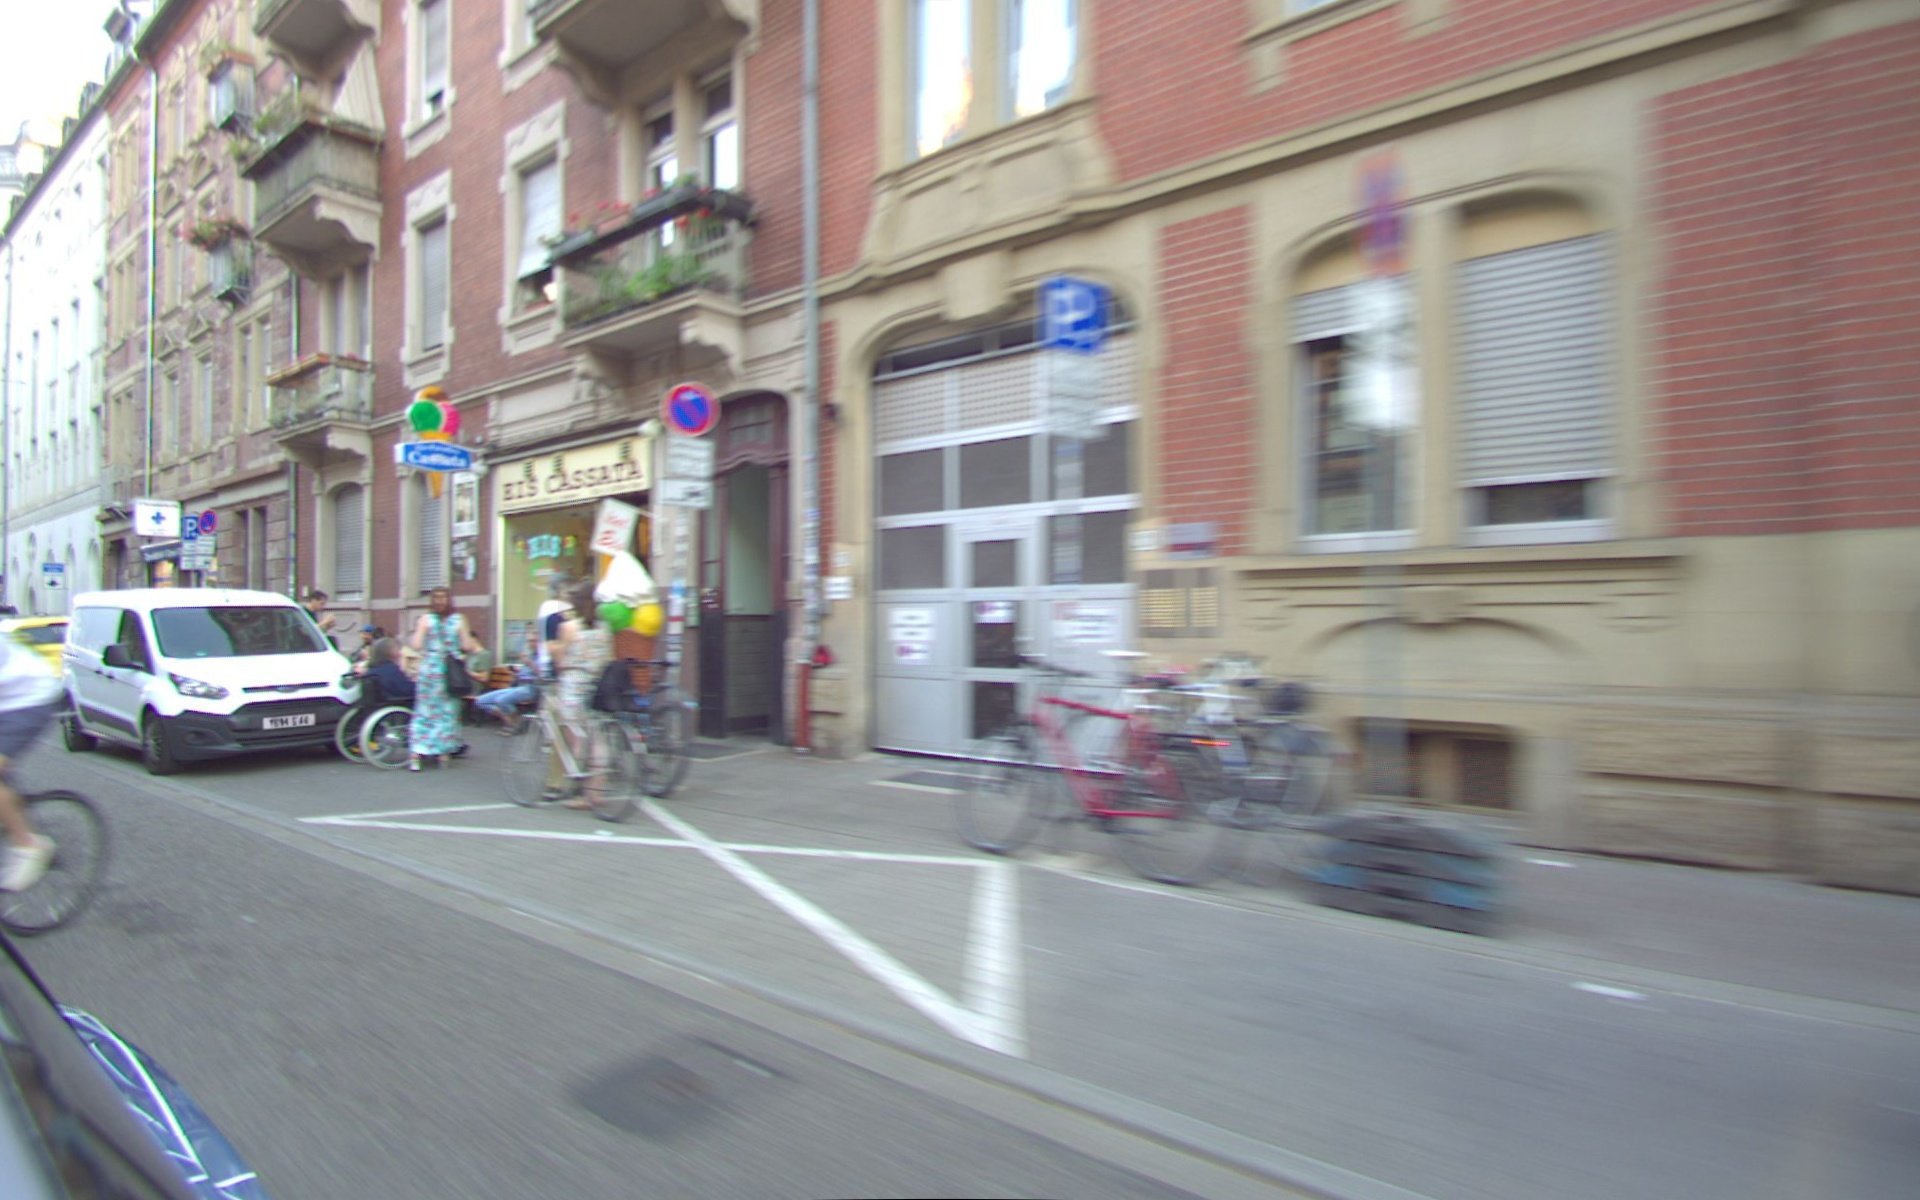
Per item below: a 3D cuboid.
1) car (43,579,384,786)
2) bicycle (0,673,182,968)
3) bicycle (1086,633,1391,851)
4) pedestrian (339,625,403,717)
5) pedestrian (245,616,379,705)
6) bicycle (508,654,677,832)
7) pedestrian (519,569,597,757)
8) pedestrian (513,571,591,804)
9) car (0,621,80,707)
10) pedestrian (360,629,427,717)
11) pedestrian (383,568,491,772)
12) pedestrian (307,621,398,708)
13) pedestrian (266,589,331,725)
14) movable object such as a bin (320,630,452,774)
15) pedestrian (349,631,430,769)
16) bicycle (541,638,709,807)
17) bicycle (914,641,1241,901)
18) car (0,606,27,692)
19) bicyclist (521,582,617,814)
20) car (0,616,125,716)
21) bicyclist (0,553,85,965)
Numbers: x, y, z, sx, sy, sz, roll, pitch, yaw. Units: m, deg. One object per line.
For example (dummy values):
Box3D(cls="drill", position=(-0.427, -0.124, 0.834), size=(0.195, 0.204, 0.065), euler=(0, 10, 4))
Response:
Box3D(cls="car", position=(-8.157, 0.737, 10.906), size=(4.580, 1.802, 1.754), euler=(-1, 0, 37))
Box3D(cls="bicycle", position=(-4.272, 0.959, 4.285), size=(0.514, 1.164, 1.781), euler=(-1, 0, 3))
Box3D(cls="bicycle", position=(1.685, 0.813, 6.360), size=(1.836, 1.168, 0.407), euler=(-1, 0, 40))
Box3D(cls="pedestrian", position=(-8.487, 1.000, 14.577), size=(0.584, 1.261, 0.613), euler=(-1, 0, 37))
Box3D(cls="pedestrian", position=(-9.594, 0.864, 15.025), size=(0.641, 1.212, 1.547), euler=(-1, 0, 37))
Box3D(cls="bicycle", position=(-2.621, 0.949, 7.147), size=(1.520, 1.076, 0.460), euler=(-1, 0, 42))
Box3D(cls="pedestrian", position=(-4.097, 0.614, 10.310), size=(0.590, 1.827, 0.722), euler=(-1, 0, -33))
Box3D(cls="pedestrian", position=(-3.118, 0.647, 7.746), size=(0.349, 1.722, 0.414), euler=(-1, 0, 34))
Box3D(cls="car", position=(-19.429, 1.253, 20.476), size=(3.967, 1.608, 1.907), euler=(-2, -1, 41))
Box3D(cls="pedestrian", position=(-7.810, 0.992, 13.953), size=(0.572, 1.148, 0.626), euler=(-1, 0, 37))
Box3D(cls="pedestrian", position=(-4.902, 0.627, 9.494), size=(0.718, 1.827, 0.594), euler=(-1, 0, 30))
Box3D(cls="pedestrian", position=(-8.945, 0.929, 14.914), size=(0.502, 1.212, 1.029), euler=(-1, 0, 37))
Box3D(cls="pedestrian", position=(-8.720, 0.726, 13.361), size=(0.610, 1.743, 0.587), euler=(-1, 0, -23))
Box3D(cls="movable object such as a bin", position=(-5.531, 0.943, 9.765), size=(0.775, 1.260, 0.879), euler=(-1, 0, 39))
Box3D(cls="pedestrian", position=(-5.528, 0.942, 9.802), size=(0.652, 1.260, 0.473), euler=(-1, 0, 39))
Box3D(cls="bicycle", position=(-2.758, 0.918, 8.195), size=(0.460, 1.164, 2.002), euler=(-1, 0, -44))
Box3D(cls="bicycle", position=(0.567, 0.830, 5.491), size=(1.836, 1.168, 0.407), euler=(-1, 0, 40))
Box3D(cls="car", position=(-23.614, 1.136, 23.658), size=(4.898, 1.897, 1.909), euler=(-1, -1, 38))
Box3D(cls="bicyclist", position=(-2.833, 0.676, 7.331), size=(0.487, 1.602, 0.461), euler=(-1, 0, 42))
Box3D(cls="car", position=(-15.897, 1.070, 17.451), size=(3.790, 1.541, 1.688), euler=(-2, -1, 41))
Box3D(cls="bicyclist", position=(-4.276, 0.667, 4.235), size=(0.522, 1.716, 0.789), euler=(-1, 0, 4))
